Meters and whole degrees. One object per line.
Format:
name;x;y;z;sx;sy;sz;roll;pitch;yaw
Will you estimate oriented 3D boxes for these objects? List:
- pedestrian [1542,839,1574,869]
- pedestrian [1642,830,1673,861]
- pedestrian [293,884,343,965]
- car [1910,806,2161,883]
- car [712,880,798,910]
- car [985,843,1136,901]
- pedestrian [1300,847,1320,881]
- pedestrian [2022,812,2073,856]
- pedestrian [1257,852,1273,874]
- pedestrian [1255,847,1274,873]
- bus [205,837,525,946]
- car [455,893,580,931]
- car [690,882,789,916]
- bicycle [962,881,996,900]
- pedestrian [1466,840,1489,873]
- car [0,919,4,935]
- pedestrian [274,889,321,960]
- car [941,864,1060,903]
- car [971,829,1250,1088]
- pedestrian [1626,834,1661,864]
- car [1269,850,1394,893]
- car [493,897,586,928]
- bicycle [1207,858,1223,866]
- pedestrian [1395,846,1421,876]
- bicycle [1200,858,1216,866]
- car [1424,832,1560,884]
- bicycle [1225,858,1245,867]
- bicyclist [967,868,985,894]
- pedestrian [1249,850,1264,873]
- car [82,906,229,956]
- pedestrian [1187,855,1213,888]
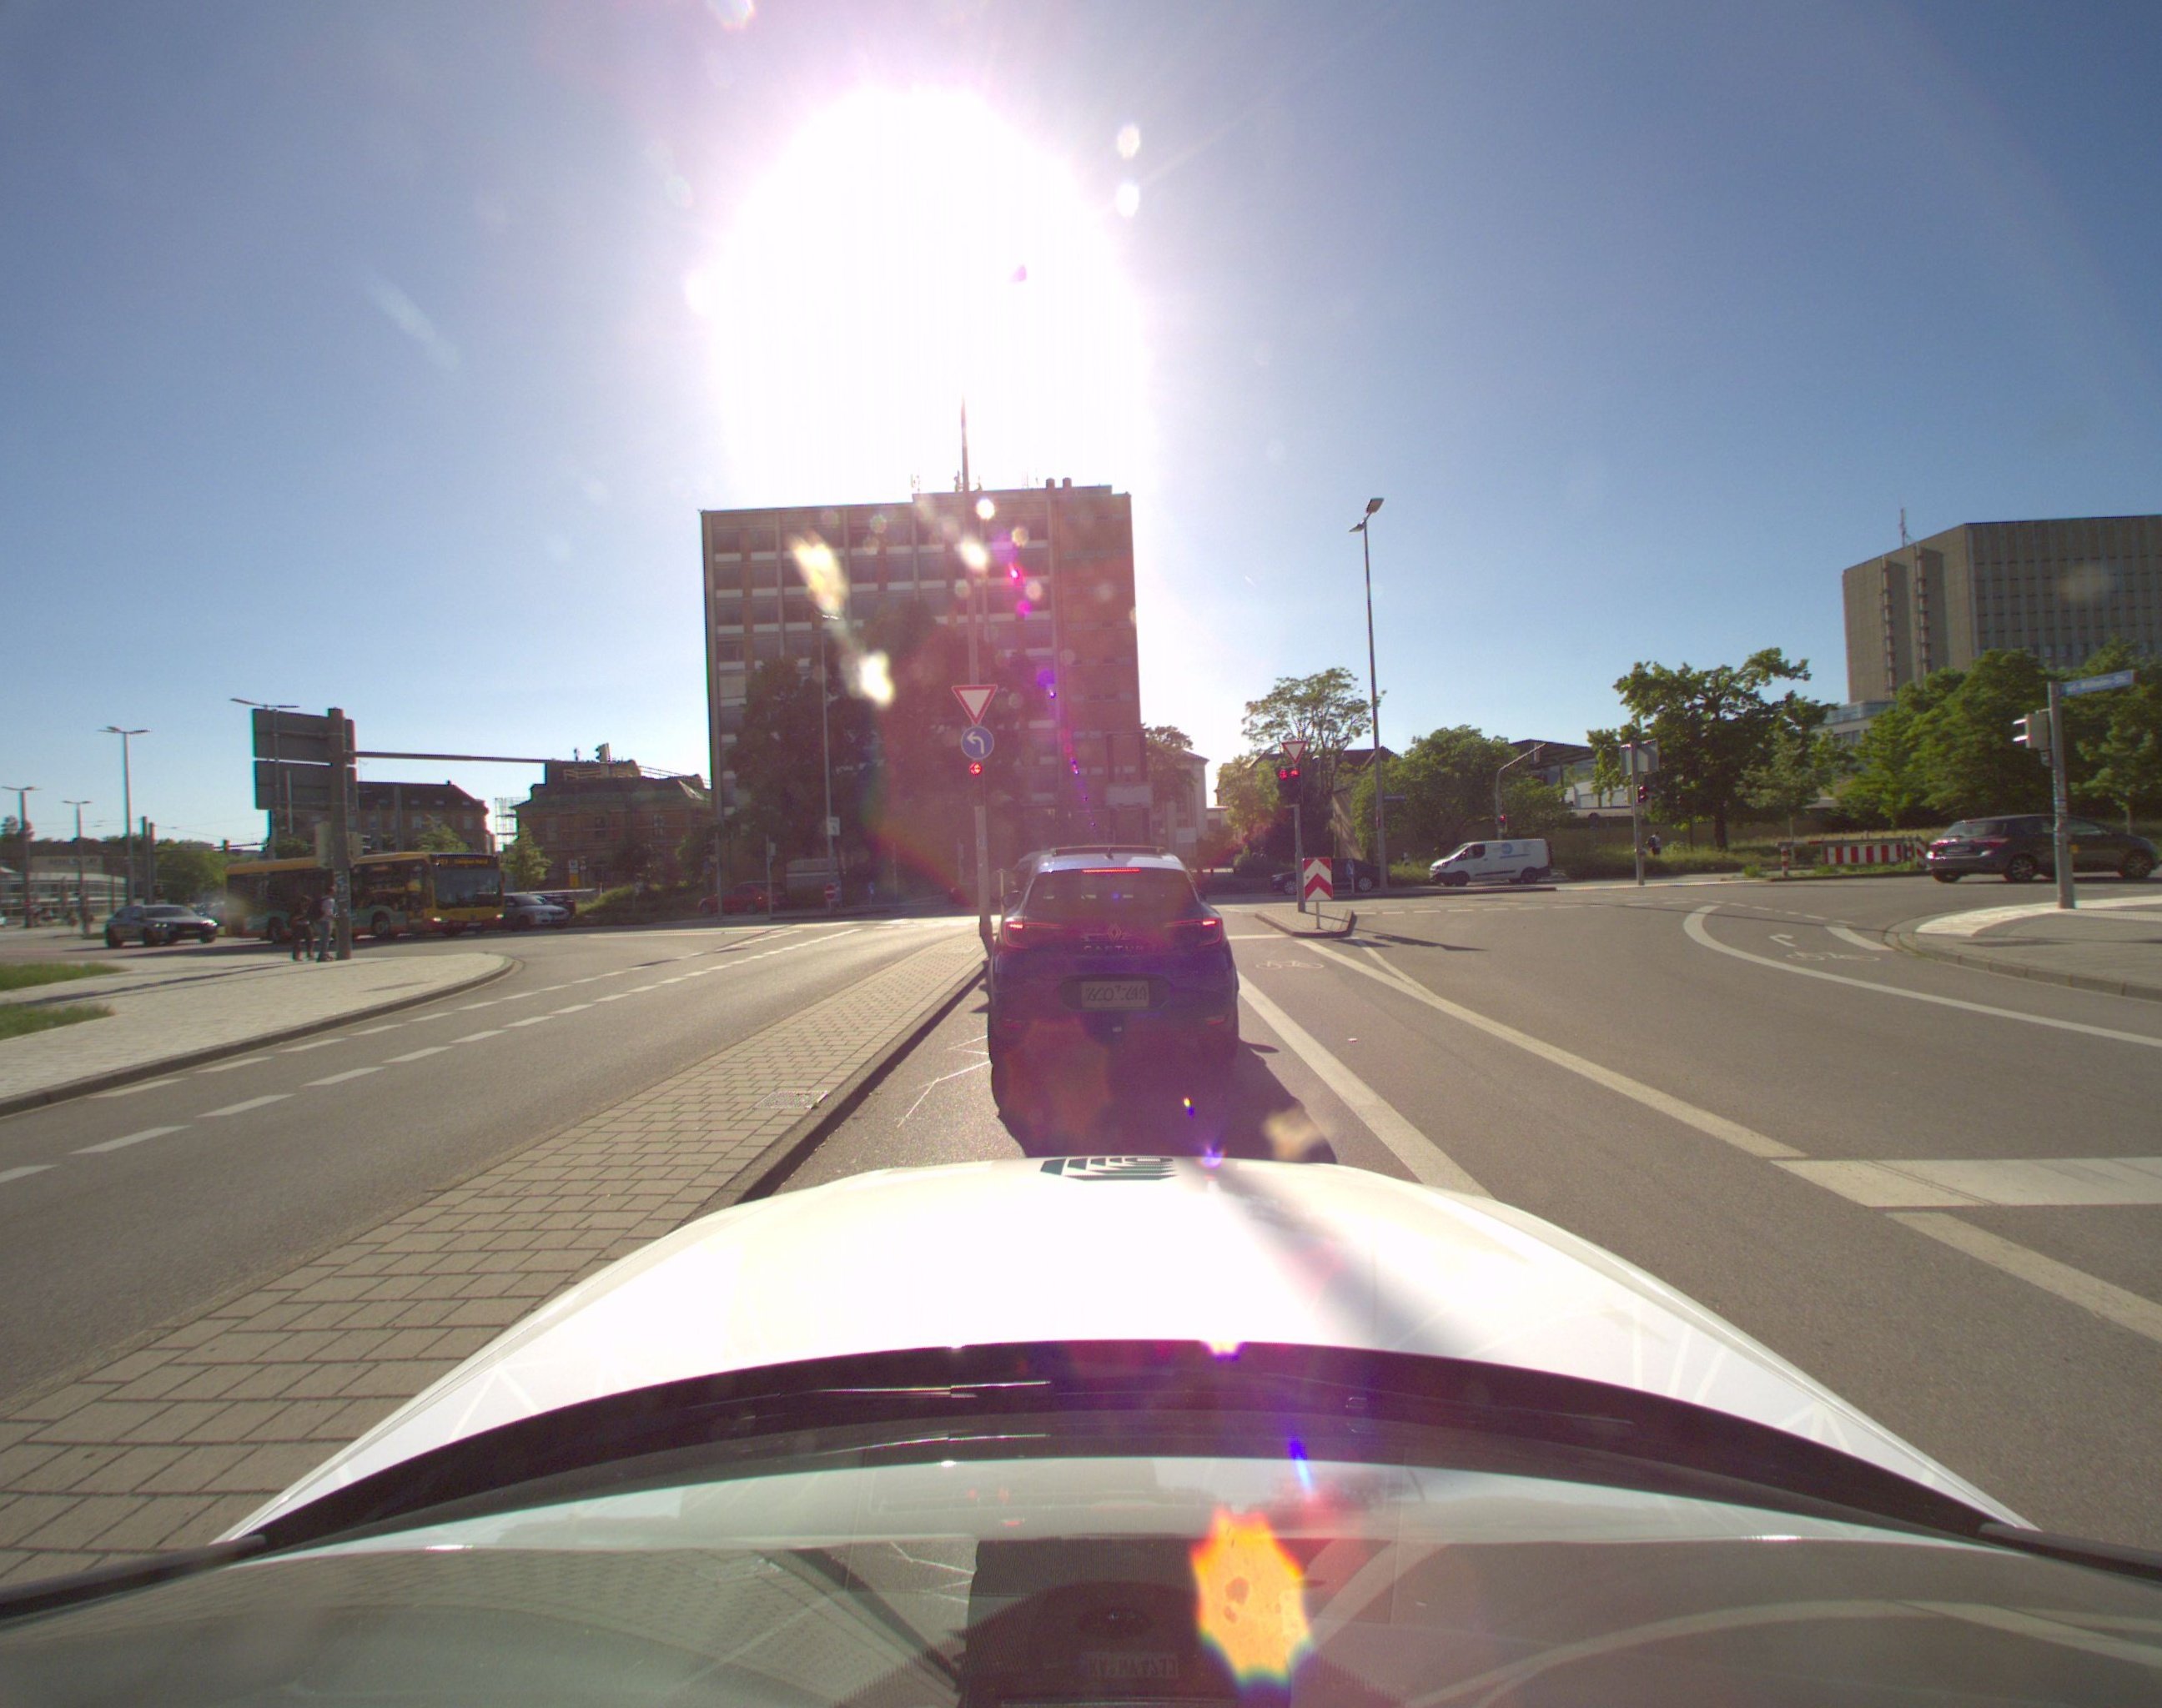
pedestrian;25.113;-0.008;42.882;1.140;1.521;0.944;-2;0;7
pedestrian;29.704;-0.424;41.978;0.966;1.521;0.887;-2;0;5
pedestrian;-18.176;1.670;19.410;0.673;1.855;0.608;-3;-1;25
car;21.724;-0.210;18.444;3.971;1.516;1.744;-2;0;2
car;-18.387;2.313;45.977;4.013;1.439;2.075;-3;0;17
car;-0.951;0.895;40.914;6.884;2.547;3.025;-3;0;15
pedestrian;12.649;0.547;44.994;0.926;1.855;0.809;-3;-1;11
pedestrian;46.727;-0.958;39.400;1.181;2.079;0.983;-2;-1;5
pedestrian;13.965;0.662;61.820;0.932;1.613;1.176;-2;0;2
pedestrian;14.498;0.476;64.358;1.152;2.013;1.165;-2;-1;2
bus;-27.114;1.477;30.734;12.320;3.570;3.266;-3;-1;19
car;-22.209;2.274;32.159;3.818;1.403;1.898;-1;-3;12
car;-16.971;2.242;40.589;4.018;1.439;2.072;-3;0;11
bicycle;-5.662;2.021;45.215;0.691;1.007;1.880;-6;-4;37
pedestrian;21.326;0.142;43.801;0.955;1.732;0.930;-3;-1;20
car;-121.073;8.164;90.270;3.948;1.706;1.916;-3;-1;38
pedestrian;-19.434;1.735;20.195;0.627;1.697;0.608;-3;-1;25
car;-3.651;1.360;37.203;4.995;1.673;2.006;-1;-3;12
car;0.225;0.677;7.217;1.788;1.655;3.854;-1;0;1
pedestrian;29.605;-0.243;42.858;1.123;1.521;0.992;-2;0;5
car;10.601;0.736;34.767;4.814;1.582;2.107;-3;0;9
car;-29.682;3.209;44.699;3.872;1.448;2.110;-3;0;14
bicycle;15.730;0.950;95.532;1.764;0.898;0.766;-2;0;2
pedestrian;17.481;0.380;43.547;1.078;1.521;0.933;-2;0;11
bicycle;15.585;1.000;99.902;1.764;0.893;0.766;-2;0;2
car;18.272;0.182;36.444;4.969;2.013;2.078;-3;0;9
bicycle;15.839;0.852;83.720;1.770;0.823;0.763;-2;0;-9
bicyclist;-5.821;1.497;45.039;0.640;1.412;0.643;-5;-3;36
pedestrian;13.402;0.557;62.241;0.949;1.741;0.984;-2;-1;2
car;-40.099;3.330;35.328;4.697;1.861;2.011;-3;0;10
pedestrian;6.868;1.000;47.007;1.288;1.855;0.969;-3;-1;13
